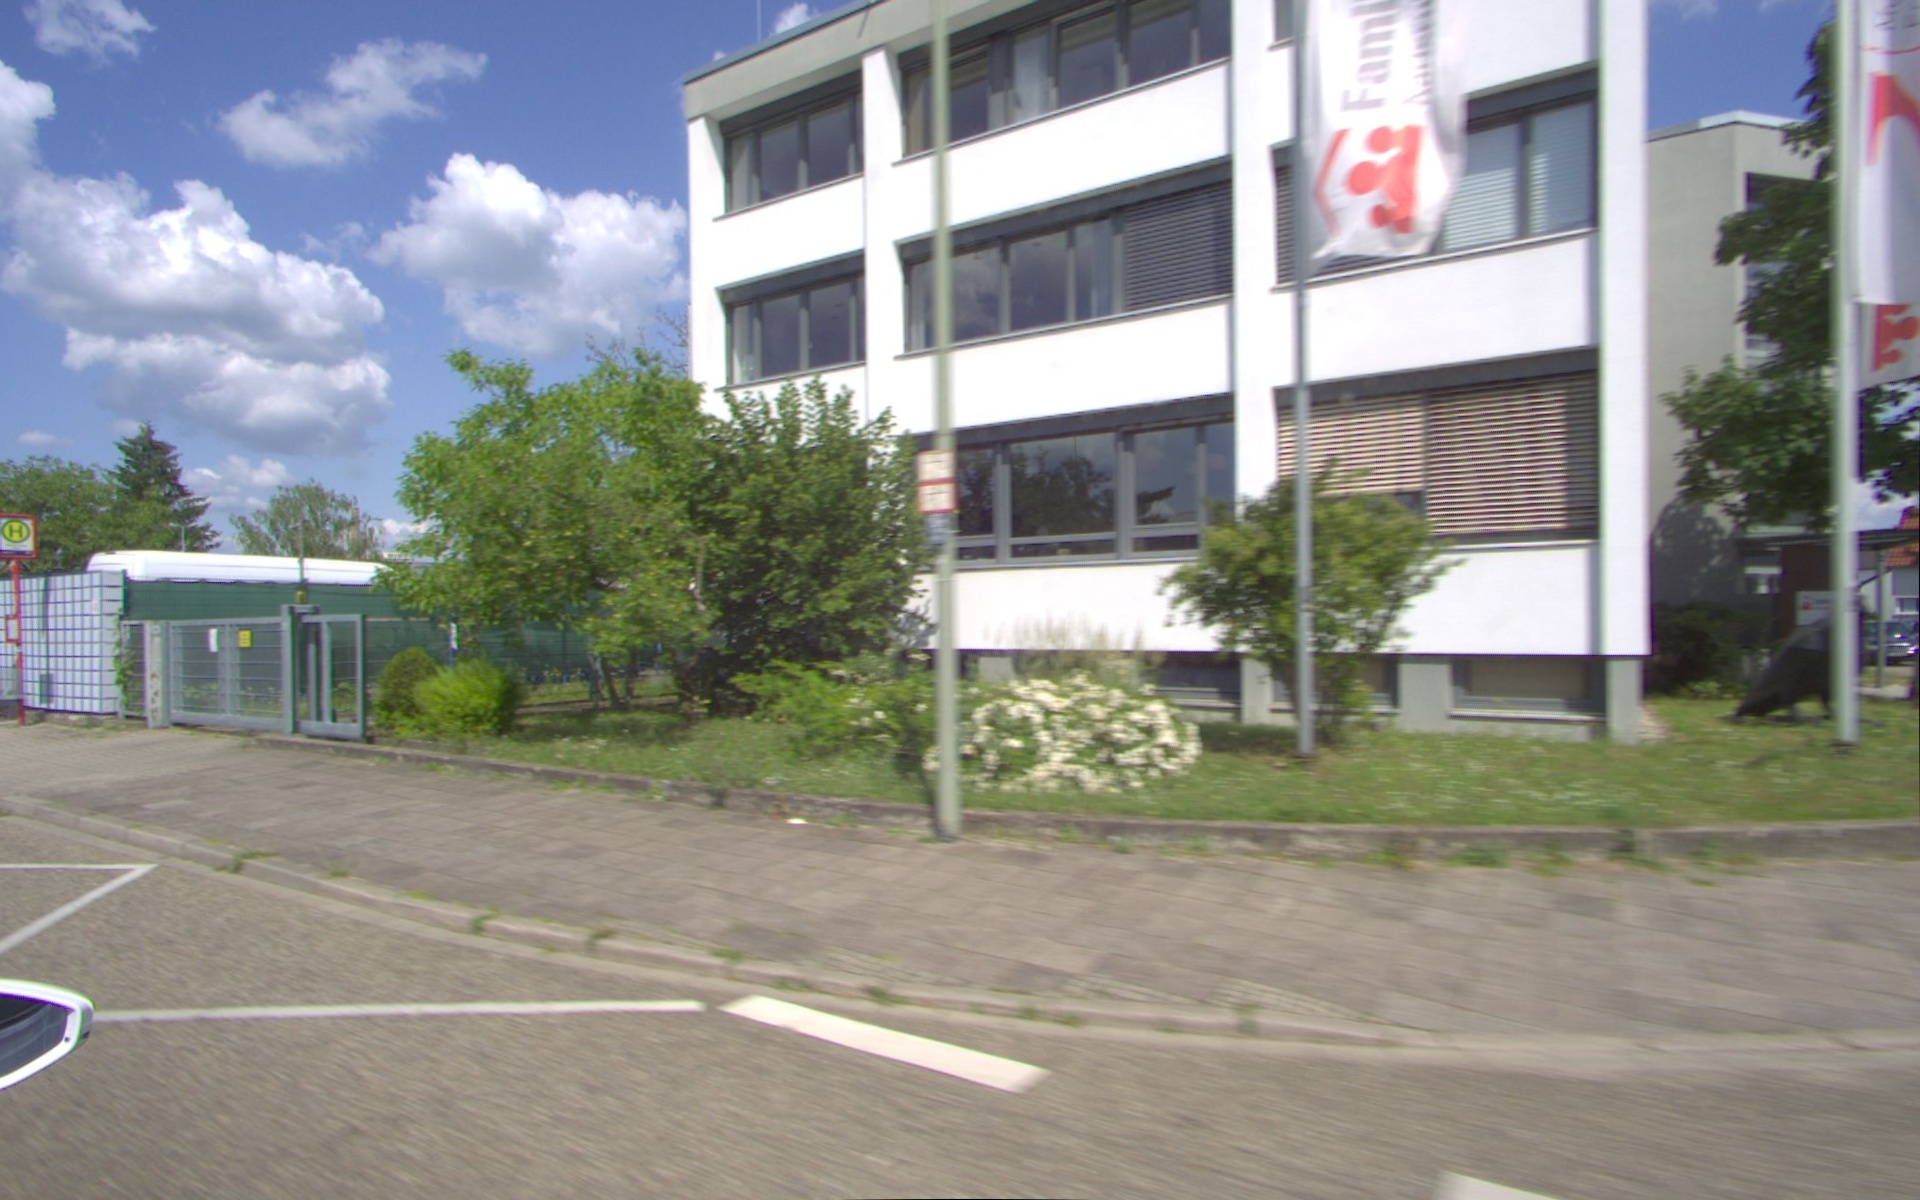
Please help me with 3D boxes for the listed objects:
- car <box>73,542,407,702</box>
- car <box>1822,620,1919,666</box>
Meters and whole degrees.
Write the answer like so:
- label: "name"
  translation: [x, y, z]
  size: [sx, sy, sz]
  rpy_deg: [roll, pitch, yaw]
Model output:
- label: "car"
  translation: [-13.680, 0.423, 19.443]
  size: [2.039, 2.686, 4.907]
  rpy_deg: [-1, -1, 25]
- label: "car"
  translation: [29.590, 1.351, 32.570]
  size: [1.593, 1.416, 4.235]
  rpy_deg: [-1, -1, 30]
